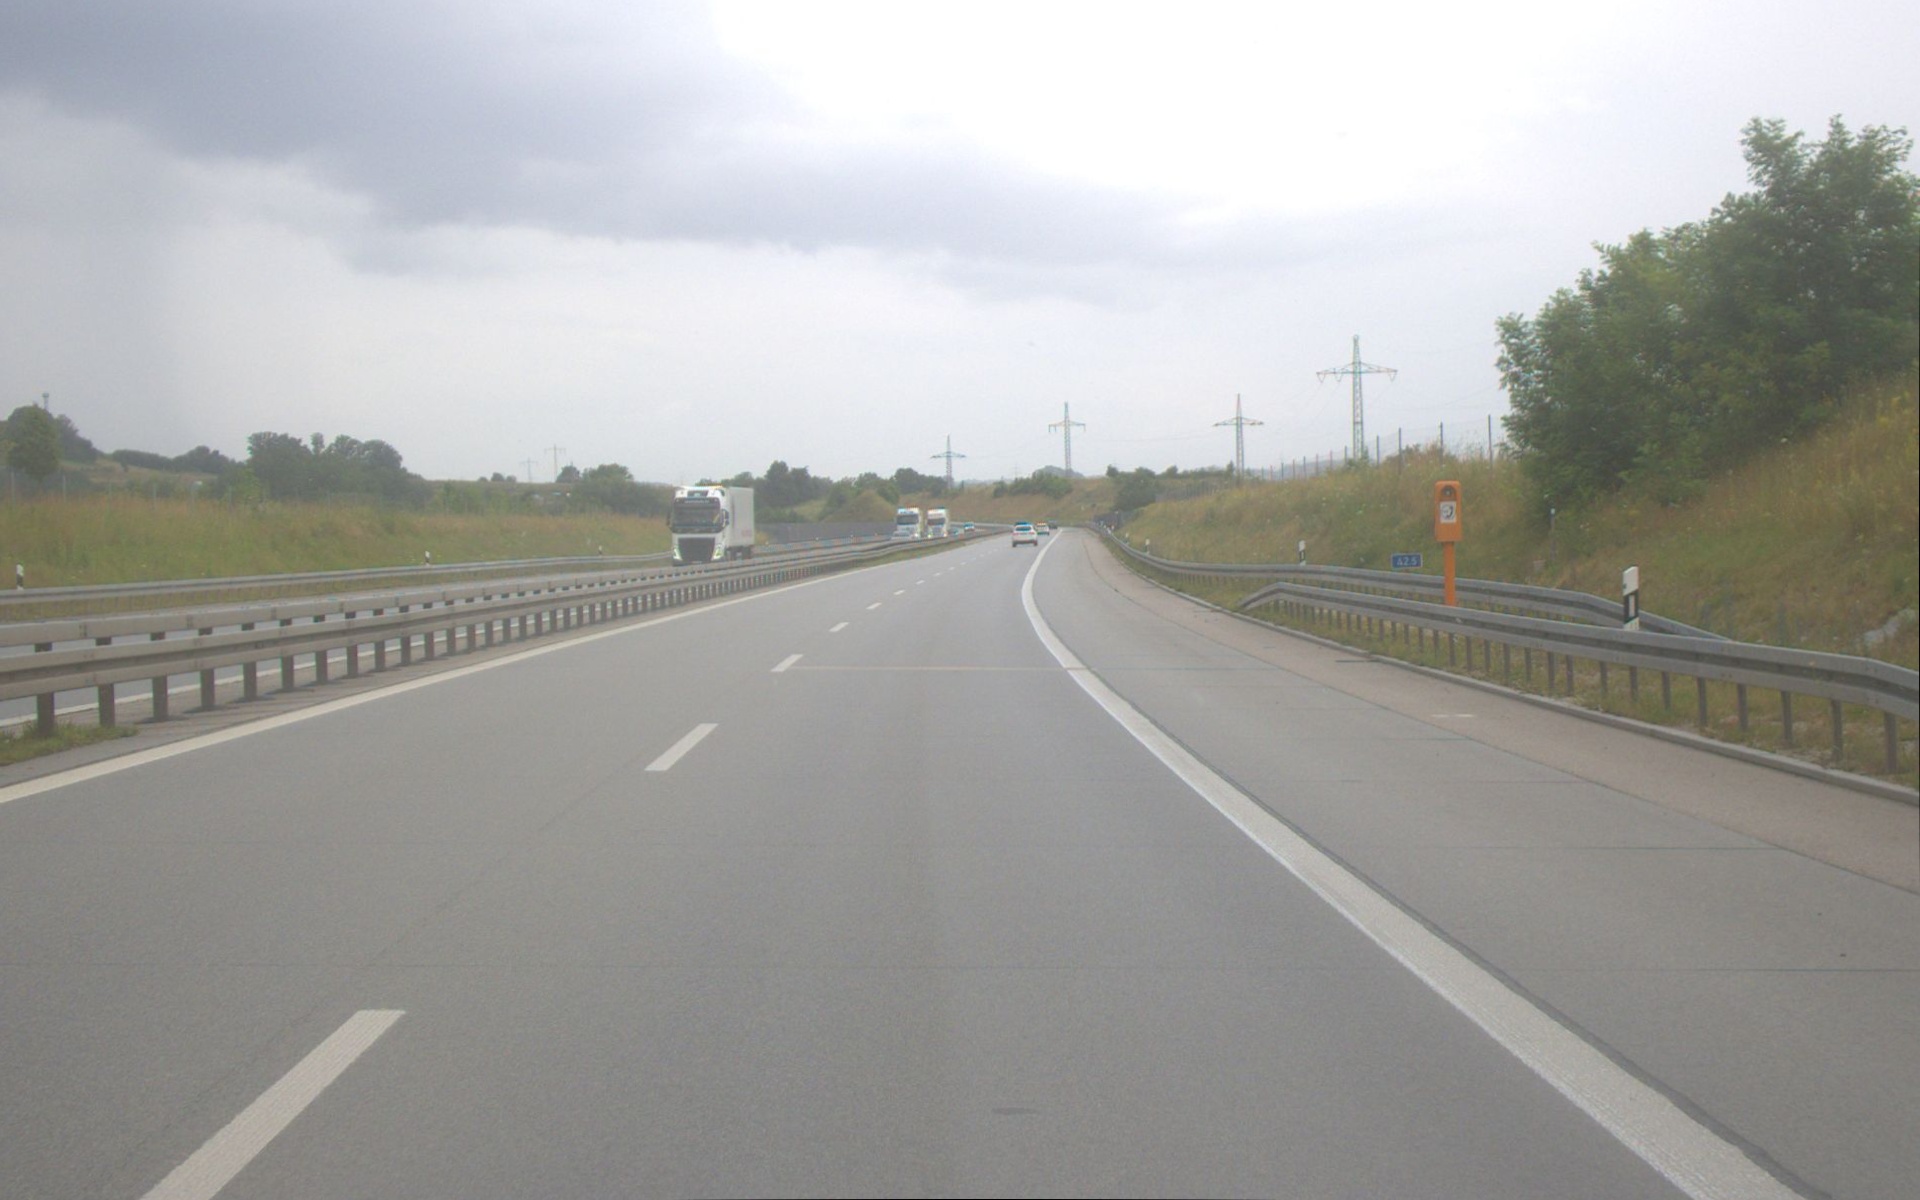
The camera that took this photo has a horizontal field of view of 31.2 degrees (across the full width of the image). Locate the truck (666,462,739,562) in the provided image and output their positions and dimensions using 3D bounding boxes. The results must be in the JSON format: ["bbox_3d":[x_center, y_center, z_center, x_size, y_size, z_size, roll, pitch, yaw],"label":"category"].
[{"bbox_3d":[-12.322,-4.220,165.112,2.795,4.631,6.920,-1,1,1],"label":"truck"}]

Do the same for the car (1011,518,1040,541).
[{"bbox_3d":[4.908,-5.282,257.630,1.957,1.645,4.000,-1,0,4],"label":"car"}]
